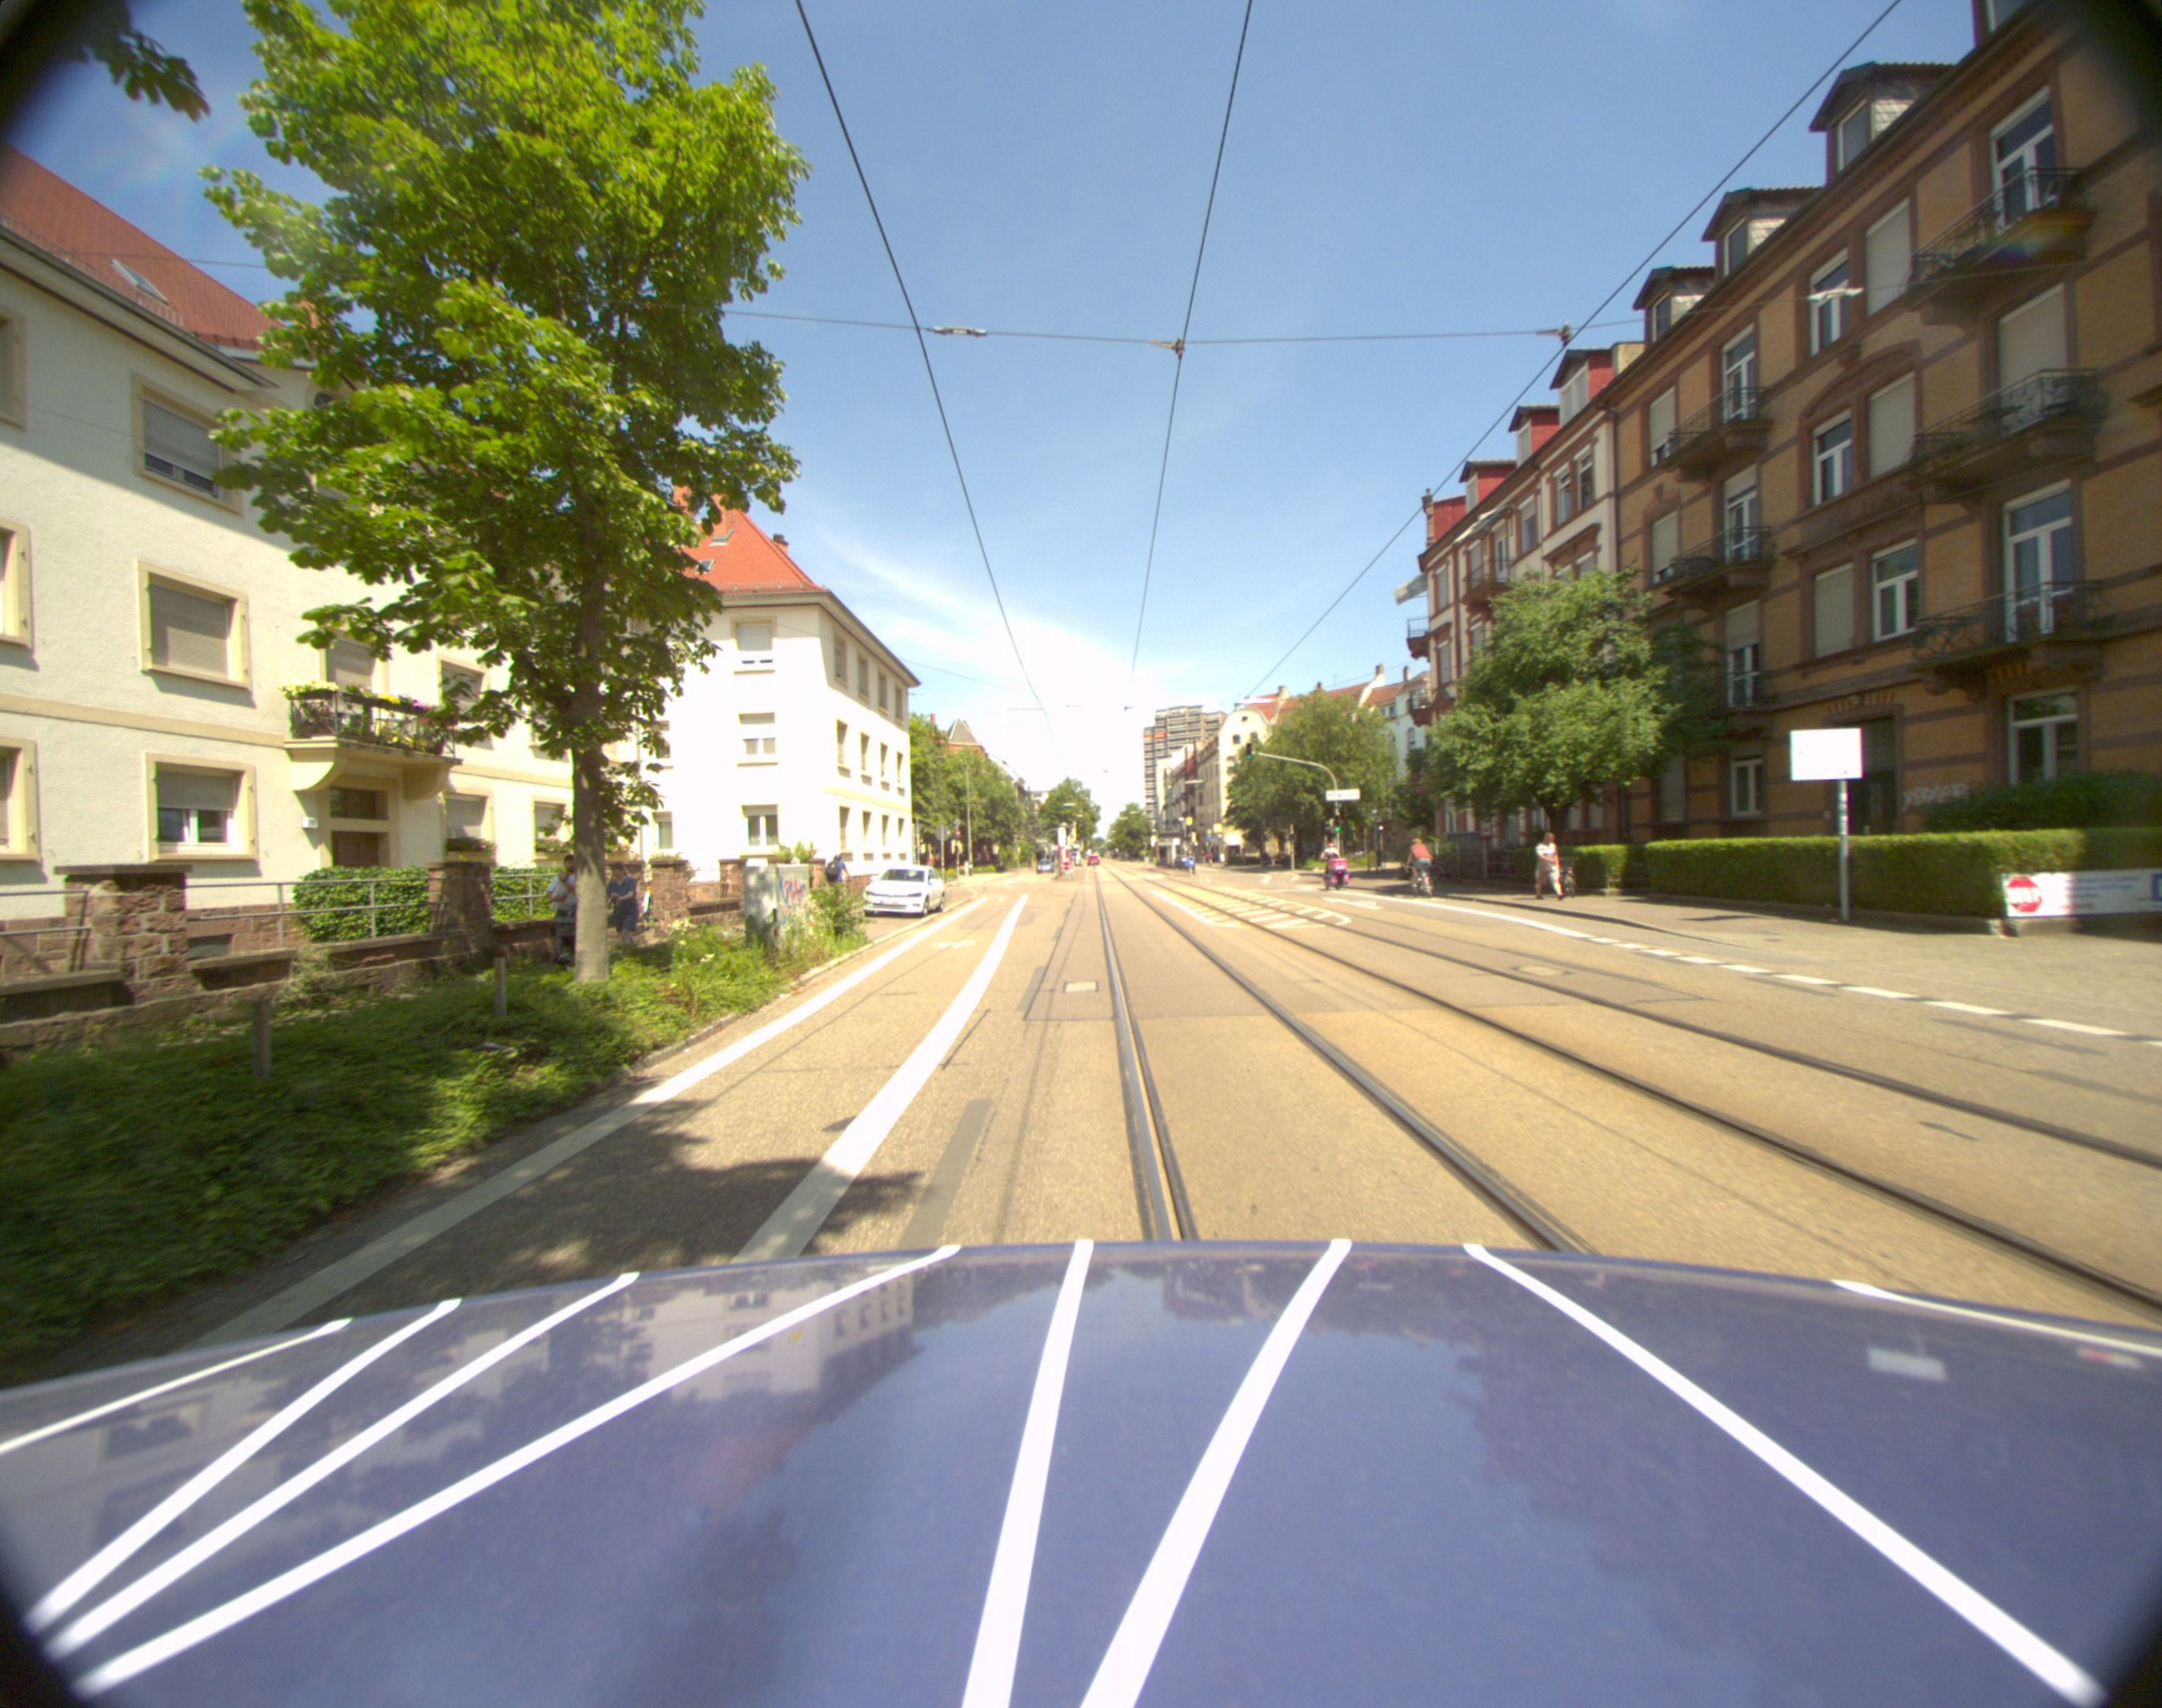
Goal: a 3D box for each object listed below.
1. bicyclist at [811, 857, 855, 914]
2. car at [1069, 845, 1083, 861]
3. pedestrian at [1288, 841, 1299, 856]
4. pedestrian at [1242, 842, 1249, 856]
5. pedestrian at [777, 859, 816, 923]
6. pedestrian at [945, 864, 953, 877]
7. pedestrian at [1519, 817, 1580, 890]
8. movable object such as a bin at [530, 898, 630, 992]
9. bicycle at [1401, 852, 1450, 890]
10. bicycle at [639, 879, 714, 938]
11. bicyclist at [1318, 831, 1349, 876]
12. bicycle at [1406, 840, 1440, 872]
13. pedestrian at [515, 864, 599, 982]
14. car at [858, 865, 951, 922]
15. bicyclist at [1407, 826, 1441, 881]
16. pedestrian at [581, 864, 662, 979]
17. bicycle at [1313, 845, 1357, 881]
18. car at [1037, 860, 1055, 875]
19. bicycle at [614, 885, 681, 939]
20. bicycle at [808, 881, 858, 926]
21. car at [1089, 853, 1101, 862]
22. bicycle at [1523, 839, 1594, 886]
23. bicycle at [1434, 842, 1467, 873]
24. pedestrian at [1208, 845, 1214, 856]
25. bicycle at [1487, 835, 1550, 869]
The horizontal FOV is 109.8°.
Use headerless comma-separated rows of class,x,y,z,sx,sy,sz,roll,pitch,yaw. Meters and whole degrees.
bicyclist,-6.586,0.826,20.222,0.712,1.443,1.010,-2,1,3
car,-0.880,-0.191,130.741,2.237,2.478,5.265,-2,1,-1
pedestrian,18.603,-0.471,66.477,0.822,1.309,0.652,-2,1,7
pedestrian,17.029,-0.521,78.563,0.537,1.433,0.520,-2,1,-9
pedestrian,-7.667,0.982,20.513,0.699,1.660,0.756,-3,1,-1
pedestrian,-11.699,1.469,67.305,0.652,1.143,0.642,-3,1,-15
pedestrian,11.282,-0.019,18.322,0.874,1.690,1.013,-2,1,7
movable object such as a bin,-6.937,1.233,10.575,0.699,1.179,1.036,0,1,0
bicycle,9.831,0.461,21.735,0.569,1.032,1.829,-2,0,2
bicycle,-9.005,1.186,17.002,0.598,1.168,1.754,-2,0,4
bicyclist,9.505,-0.019,28.586,0.809,1.620,0.980,-2,1,1
bicycle,13.016,0.077,28.937,0.574,1.162,1.716,-2,1,4
pedestrian,-7.659,0.988,11.135,0.699,1.660,0.756,0,1,0
car,-5.143,1.101,22.650,1.782,1.402,4.156,2,0,0
bicyclist,9.809,-0.018,21.750,0.564,1.507,0.892,-2,1,1
pedestrian,-6.944,0.998,11.529,0.699,1.660,0.869,0,1,0
bicycle,9.524,0.331,28.609,0.809,1.264,2.551,-2,0,2
car,-3.685,1.429,81.497,1.737,1.543,4.423,-2,0,-1
bicycle,-9.782,1.273,17.208,0.528,1.057,1.864,-2,0,-4
bicycle,-6.565,1.283,20.197,0.603,1.045,1.823,-2,0,3
car,2.359,0.576,126.675,1.737,1.543,4.423,-2,0,-1
bicycle,12.015,0.204,19.197,0.639,1.087,1.931,-4,0,4
bicycle,13.001,0.107,26.782,0.460,1.050,1.565,-2,1,4
pedestrian,16.774,-0.443,97.846,0.537,1.433,0.520,-2,1,-9
bicycle,13.763,-0.063,23.944,1.650,0.990,0.495,-2,1,2
